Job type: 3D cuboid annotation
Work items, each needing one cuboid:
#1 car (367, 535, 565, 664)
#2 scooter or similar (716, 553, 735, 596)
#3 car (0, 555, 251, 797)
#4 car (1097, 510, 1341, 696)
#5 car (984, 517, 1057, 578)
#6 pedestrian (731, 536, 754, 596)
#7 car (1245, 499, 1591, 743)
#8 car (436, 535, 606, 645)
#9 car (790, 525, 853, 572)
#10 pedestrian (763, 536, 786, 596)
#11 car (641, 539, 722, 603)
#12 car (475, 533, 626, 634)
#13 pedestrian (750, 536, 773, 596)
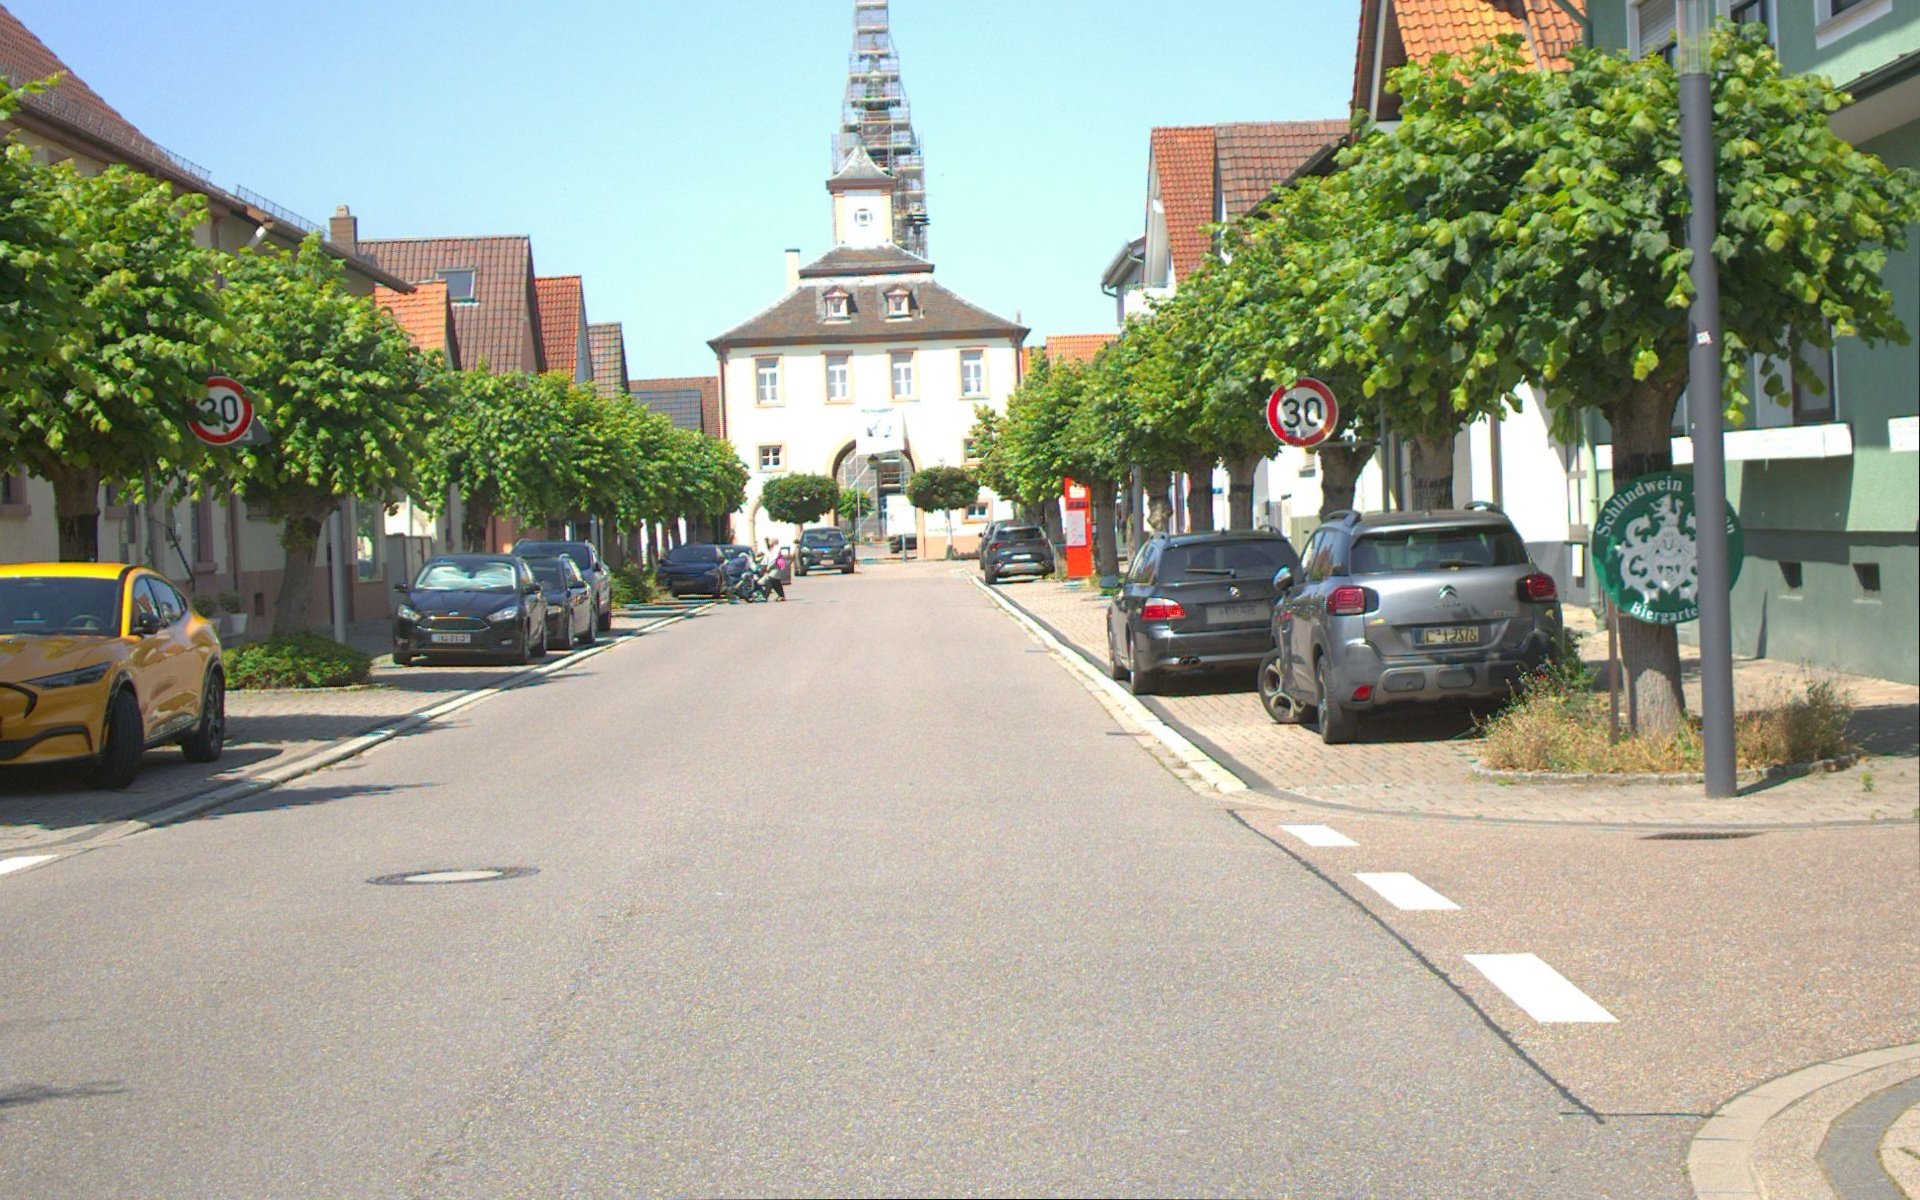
[{"bbox_3d":[-6.706,-0.054,47.135,1.993,1.606,4.689,-1,2,0],"label":"car"},{"bbox_3d":[-5.543,-0.603,81.131,0.329,0.999,0.241,-2,1,37],"label":"scooter or similar"},{"bbox_3d":[-6.797,0.490,25.700,1.993,1.606,4.689,-1,1,0],"label":"car"},{"bbox_3d":[2.415,-0.021,33.011,1.837,1.550,4.314,-4,1,-1],"label":"car"},{"bbox_3d":[1.667,-1.473,95.996,1.837,1.550,4.314,-4,1,0],"label":"car"},{"bbox_3d":[-5.139,-0.801,81.260,0.358,1.398,0.319,-2,1,37],"label":"pedestrian"},{"bbox_3d":[3.295,0.103,25.465,1.837,1.602,4.001,-2,1,-2],"label":"car"},{"bbox_3d":[-6.690,-0.166,52.867,1.993,1.606,4.689,-1,0,0],"label":"car"},{"bbox_3d":[-4.852,-1.773,119.978,1.993,1.606,4.507,-1,0,-5],"label":"car"},{"bbox_3d":[-4.344,-0.800,80.604,0.358,1.398,0.319,-2,1,37],"label":"pedestrian"},{"bbox_3d":[-7.272,-0.778,90.079,1.757,1.550,4.020,-2,1,0],"label":"car"},{"bbox_3d":[-7.084,-0.324,59.893,1.993,1.606,4.689,-2,1,0],"label":"car"},{"bbox_3d":[-4.707,-0.806,81.533,0.358,1.398,0.319,-2,1,37],"label":"pedestrian"}]
